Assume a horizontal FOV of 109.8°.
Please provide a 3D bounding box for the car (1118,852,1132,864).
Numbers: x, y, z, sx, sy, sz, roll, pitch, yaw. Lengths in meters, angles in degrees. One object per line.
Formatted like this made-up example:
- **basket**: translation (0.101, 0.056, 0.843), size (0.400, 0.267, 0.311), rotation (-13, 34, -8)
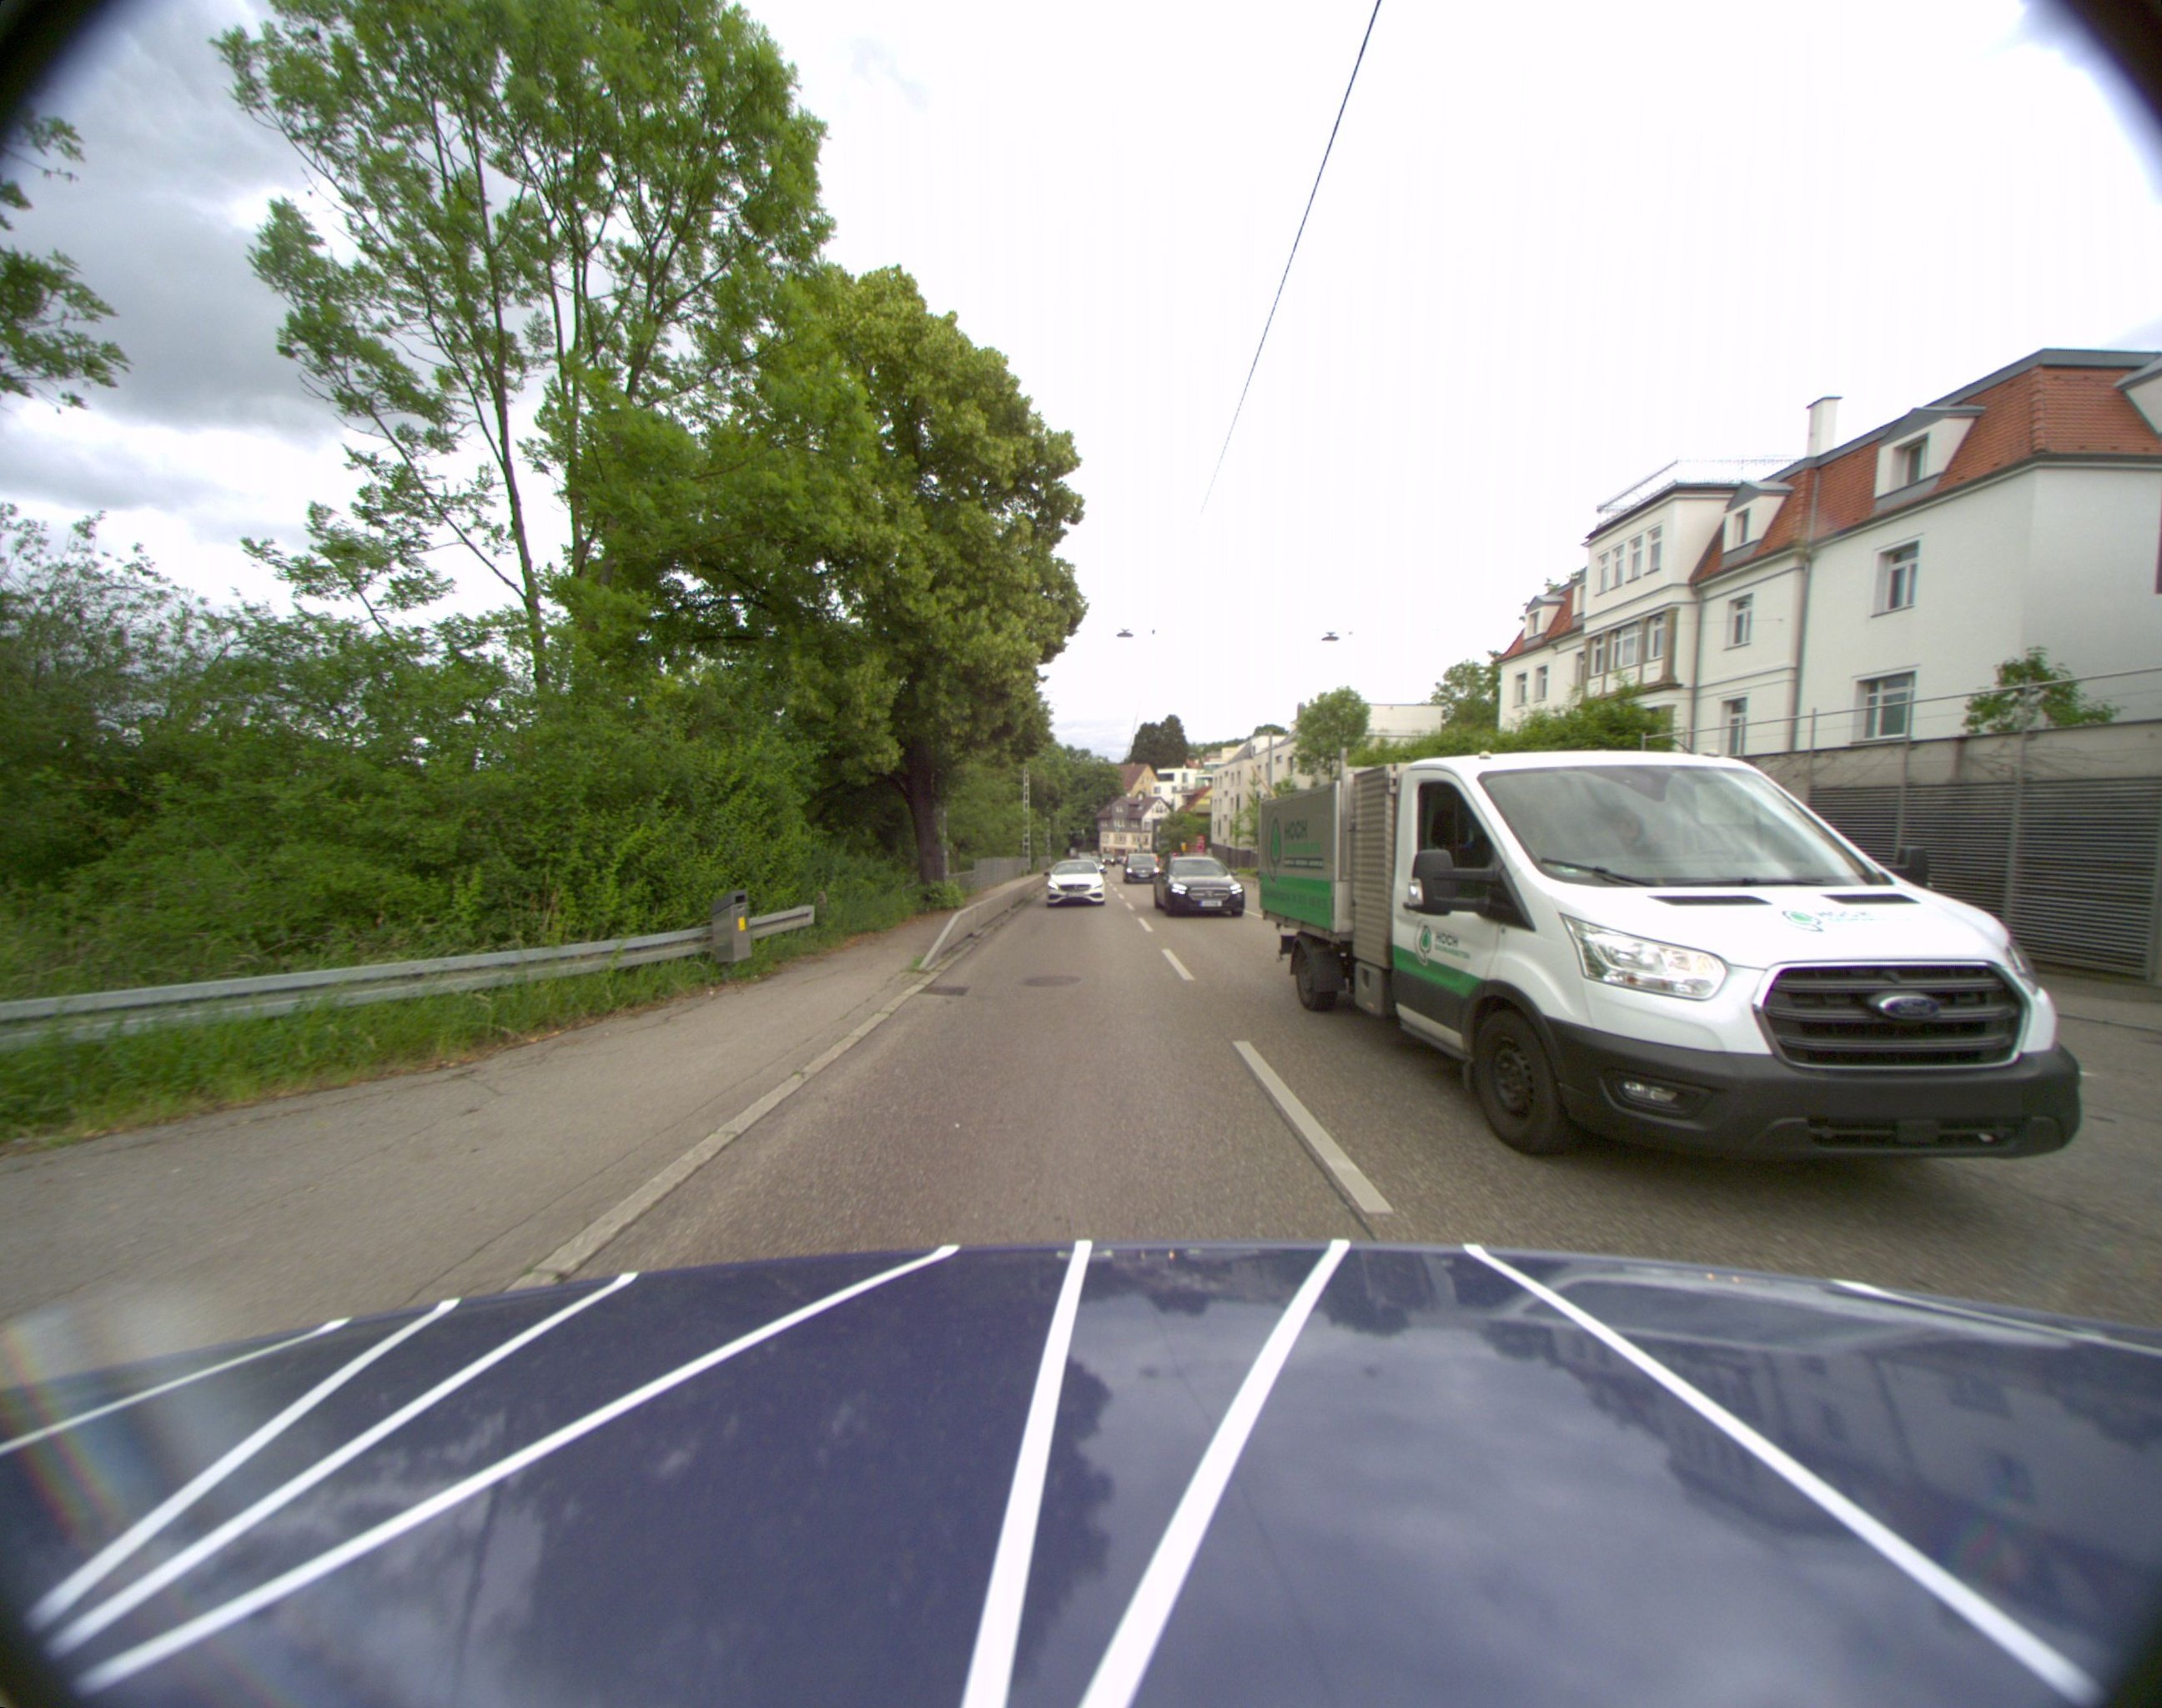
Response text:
- **car**: translation (6.208, 0.547, 107.878), size (1.709, 1.702, 3.868), rotation (0, 0, 1)

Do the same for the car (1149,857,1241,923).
- **car**: translation (2.912, 0.863, 20.274), size (1.878, 1.521, 4.335), rotation (0, 0, 1)

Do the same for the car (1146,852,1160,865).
- **car**: translation (10.143, 0.601, 107.645), size (1.709, 1.702, 3.868), rotation (0, 0, 1)

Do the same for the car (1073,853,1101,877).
- **car**: translation (0.424, 0.718, 51.972), size (1.878, 1.521, 4.000), rotation (0, 0, 1)

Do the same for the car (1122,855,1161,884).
- **car**: translation (3.283, 0.815, 42.079), size (1.878, 1.521, 4.000), rotation (0, 0, 1)

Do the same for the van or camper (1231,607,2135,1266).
- **van or camper**: translation (3.085, 0.301, 6.089), size (2.349, 2.646, 5.963), rotation (-1, 1, -2)

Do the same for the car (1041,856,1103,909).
- **car**: translation (-0.239, 0.862, 24.556), size (1.809, 1.521, 4.000), rotation (-1, 0, 1)

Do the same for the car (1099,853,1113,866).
- **car**: translation (3.272, 0.703, 100.876), size (1.709, 1.702, 3.868), rotation (0, 0, 1)
